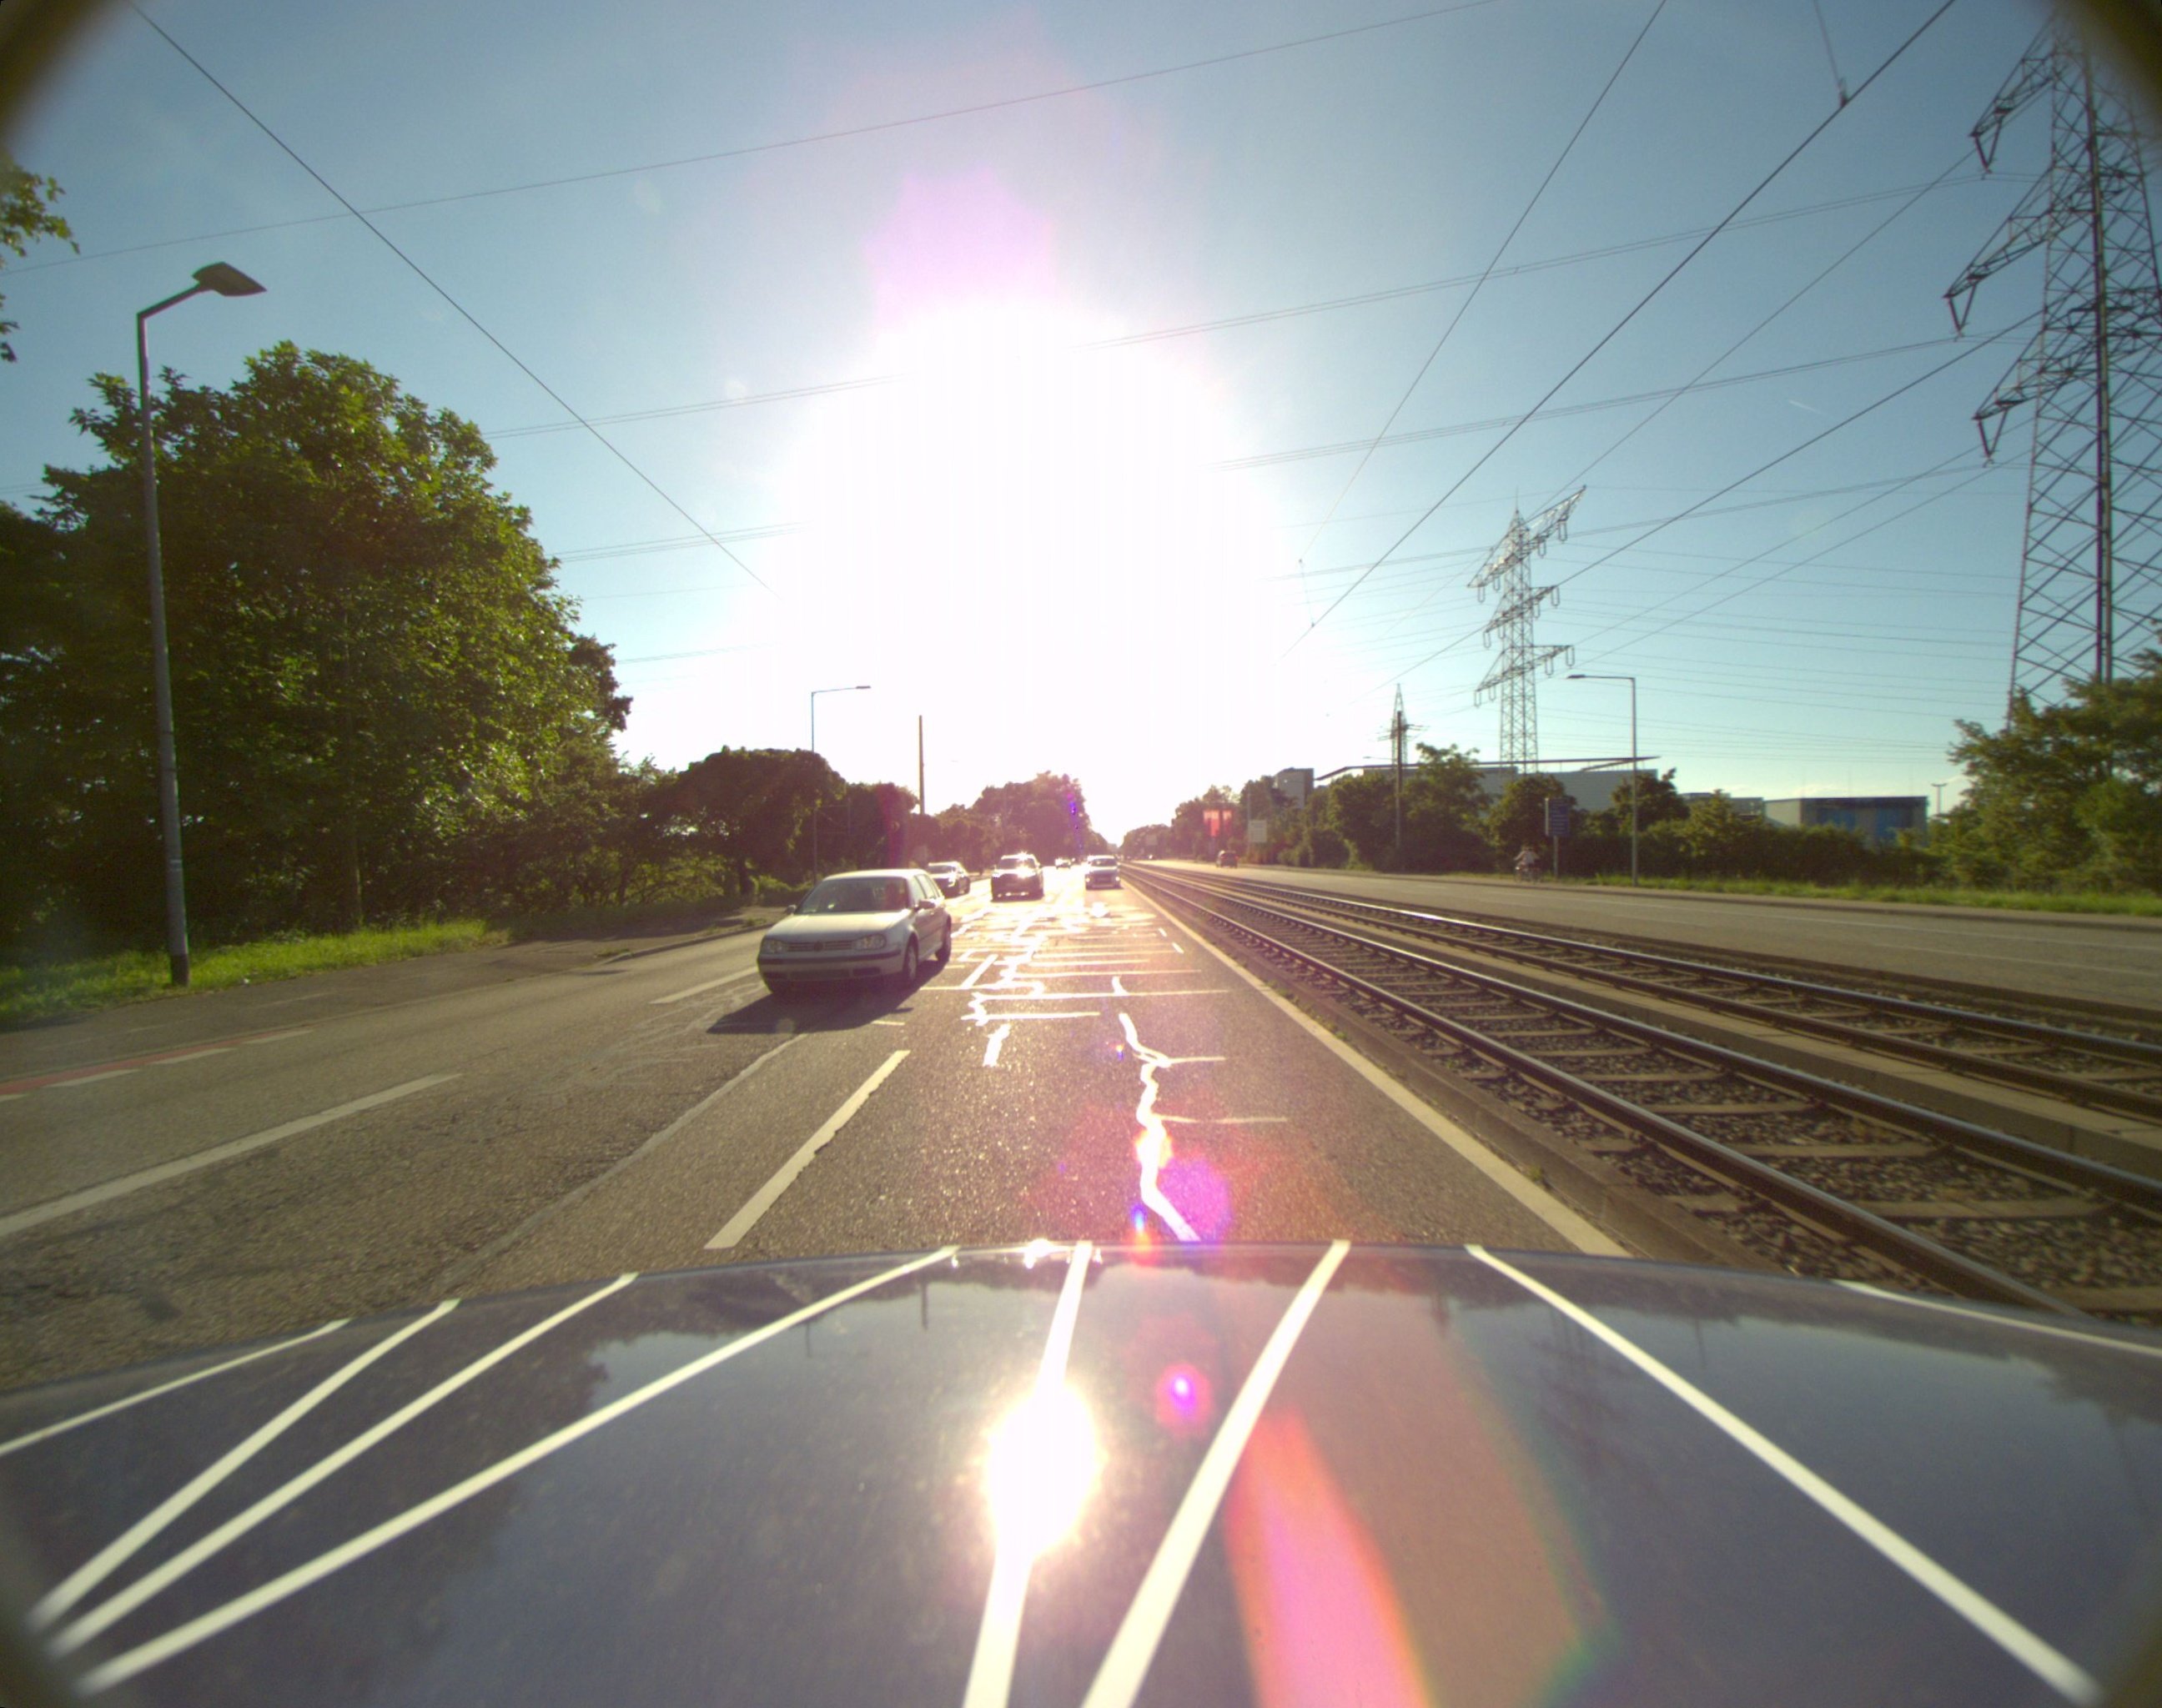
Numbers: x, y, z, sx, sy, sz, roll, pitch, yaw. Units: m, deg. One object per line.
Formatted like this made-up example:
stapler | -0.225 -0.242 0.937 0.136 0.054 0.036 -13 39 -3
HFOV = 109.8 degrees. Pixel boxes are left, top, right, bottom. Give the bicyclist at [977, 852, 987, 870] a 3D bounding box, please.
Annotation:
bicyclist | -8.561 0.600 65.828 0.628 1.463 1.060 2 1 2

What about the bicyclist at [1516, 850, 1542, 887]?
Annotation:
bicyclist | 20.044 0.627 33.986 0.591 1.601 0.967 -1 1 0

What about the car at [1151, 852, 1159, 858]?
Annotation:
car | 22.564 0.311 231.667 1.999 1.616 4.681 0 1 -2

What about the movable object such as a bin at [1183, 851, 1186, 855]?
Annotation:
movable object such as a bin | 23.440 -0.278 172.196 0.614 0.960 1.083 -3 1 1

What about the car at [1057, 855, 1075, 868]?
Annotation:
car | -1.793 0.878 91.223 1.881 1.449 4.416 -2 1 2

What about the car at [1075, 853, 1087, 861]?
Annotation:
car | 0.061 0.539 149.352 1.880 1.449 4.417 -2 1 5

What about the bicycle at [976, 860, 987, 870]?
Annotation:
bicycle | -8.581 0.923 65.743 0.628 0.829 1.635 2 1 2

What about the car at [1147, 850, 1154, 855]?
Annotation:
car | 23.851 -0.448 260.646 1.998 1.785 4.349 0 1 1

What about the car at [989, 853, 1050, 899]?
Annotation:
car | -2.371 0.823 30.534 1.881 1.591 4.416 -2 1 2

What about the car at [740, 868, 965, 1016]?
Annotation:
car | -2.812 1.008 10.338 1.695 1.437 4.001 -2 1 2

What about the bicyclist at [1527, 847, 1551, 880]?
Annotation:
bicyclist | 21.408 0.416 35.499 0.591 1.519 0.906 -1 1 0

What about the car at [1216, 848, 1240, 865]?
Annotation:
car | 17.381 0.292 90.002 1.998 1.911 4.862 -1 -1 2

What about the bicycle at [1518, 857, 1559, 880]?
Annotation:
bicycle | 21.419 0.674 35.604 0.591 1.016 2.185 -1 1 0

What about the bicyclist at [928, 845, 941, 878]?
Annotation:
bicyclist | -9.160 0.460 47.365 0.528 2.005 0.729 -3 1 2

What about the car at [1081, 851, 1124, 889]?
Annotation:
car | 1.069 0.730 36.255 1.881 1.591 4.416 -2 1 2

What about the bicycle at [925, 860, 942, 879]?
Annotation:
bicycle | -9.148 0.942 47.126 0.528 1.054 1.971 -3 1 2

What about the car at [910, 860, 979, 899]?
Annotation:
car | -5.900 1.052 33.410 1.881 1.435 4.660 -2 1 3

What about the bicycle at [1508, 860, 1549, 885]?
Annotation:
bicycle | 20.069 0.829 34.123 0.591 1.016 2.185 -1 1 0
